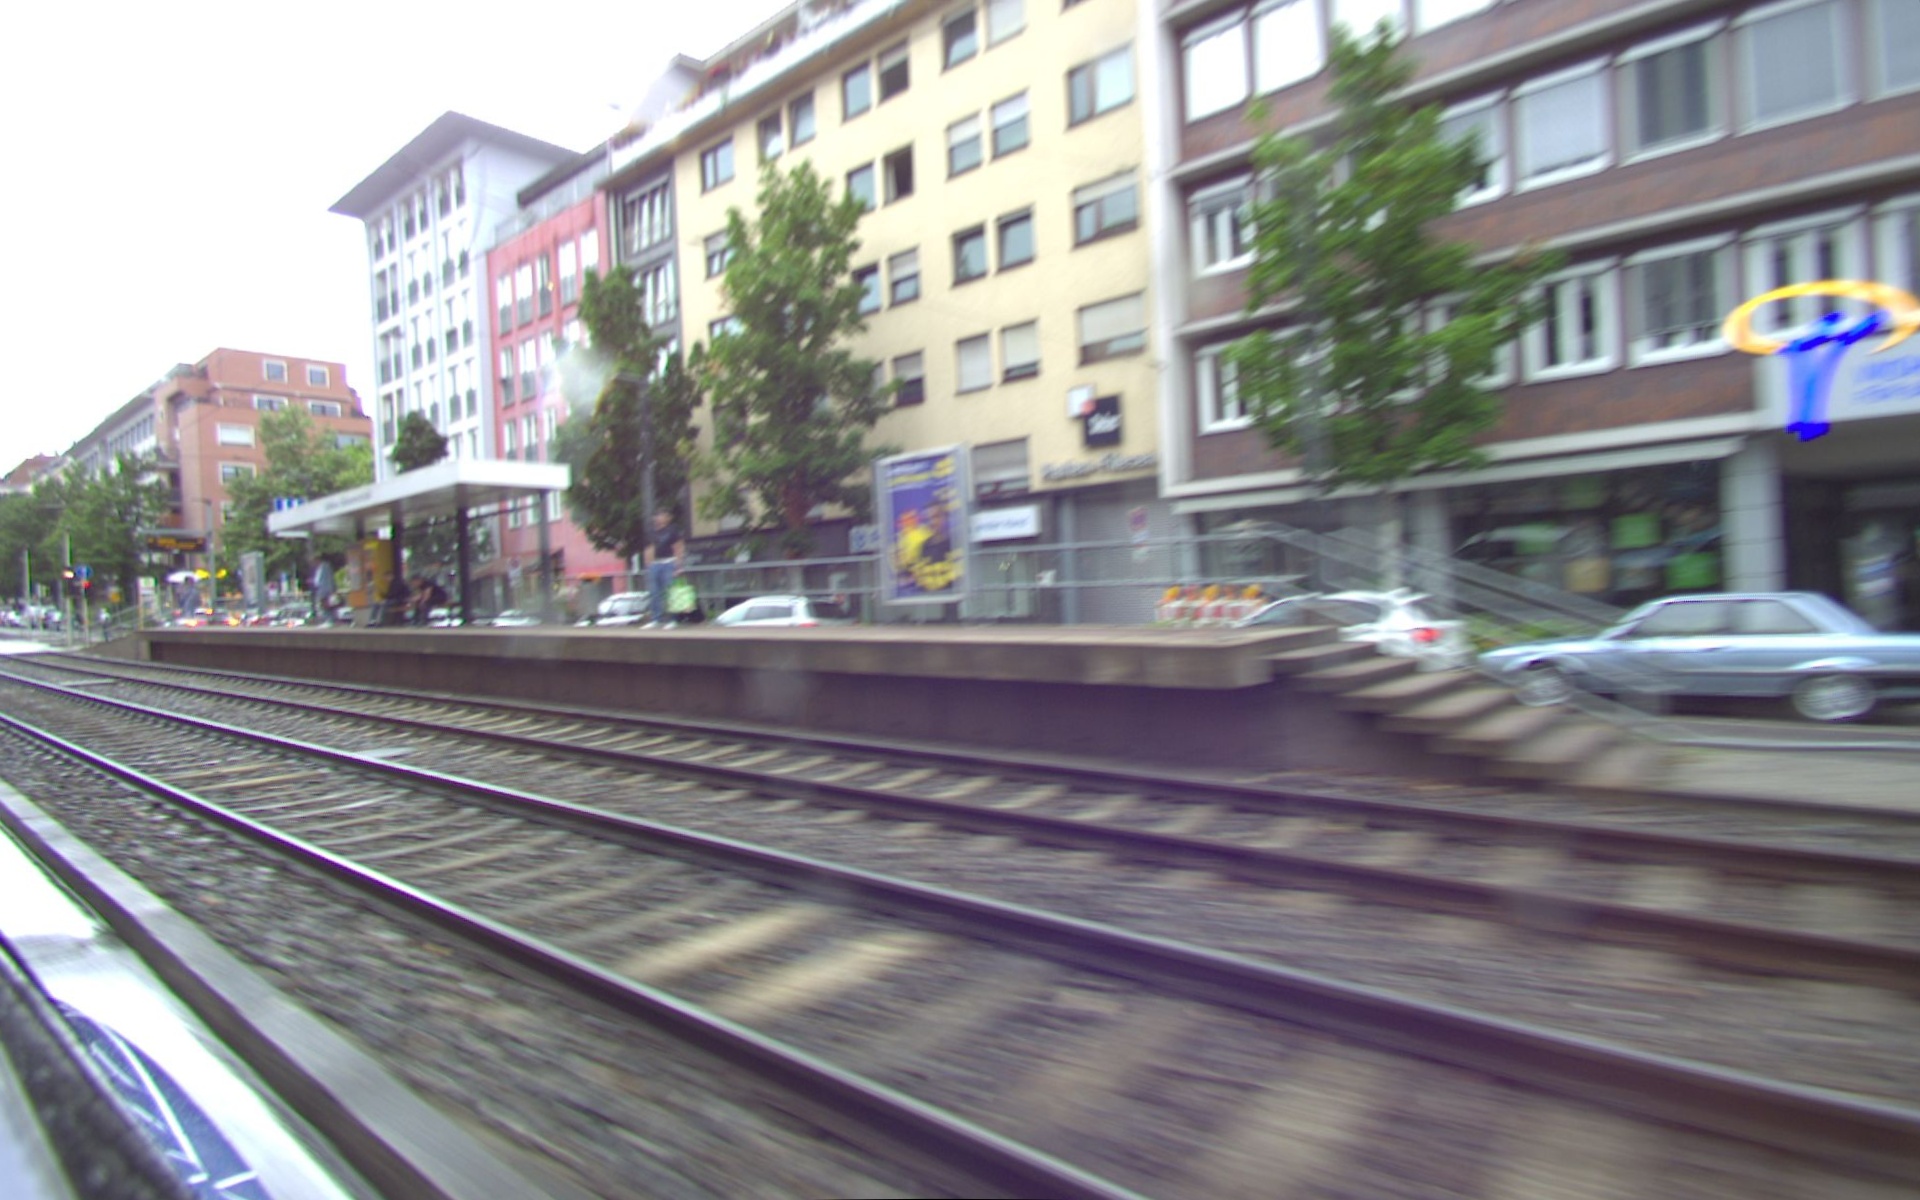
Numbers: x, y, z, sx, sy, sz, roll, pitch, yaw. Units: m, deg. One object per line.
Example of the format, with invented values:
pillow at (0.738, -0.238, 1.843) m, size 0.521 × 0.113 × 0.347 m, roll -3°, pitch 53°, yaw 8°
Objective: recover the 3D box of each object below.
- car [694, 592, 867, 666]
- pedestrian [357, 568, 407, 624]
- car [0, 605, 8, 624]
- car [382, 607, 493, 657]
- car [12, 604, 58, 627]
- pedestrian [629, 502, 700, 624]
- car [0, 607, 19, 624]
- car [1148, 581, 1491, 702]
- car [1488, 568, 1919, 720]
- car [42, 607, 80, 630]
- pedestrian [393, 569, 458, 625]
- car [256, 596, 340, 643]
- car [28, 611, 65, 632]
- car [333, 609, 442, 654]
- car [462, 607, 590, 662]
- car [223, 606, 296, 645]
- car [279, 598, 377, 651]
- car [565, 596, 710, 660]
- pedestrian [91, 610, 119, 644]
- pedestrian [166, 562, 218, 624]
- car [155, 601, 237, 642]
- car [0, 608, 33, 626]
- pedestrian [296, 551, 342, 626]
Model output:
car at (-3.906, 0.598, 21.753) m, size 3.730 × 1.447 × 1.553 m, roll -1°, pitch 0°, yaw 38°
pedestrian at (-13.175, -0.087, 23.072) m, size 0.883 × 1.258 × 0.686 m, roll -1°, pitch 0°, yaw 38°
car at (-94.874, 1.386, 99.273) m, size 4.428 × 1.831 × 1.657 m, roll 0°, pitch 1°, yaw 40°
car at (-16.500, 0.974, 31.885) m, size 3.973 × 1.447 × 1.553 m, roll -1°, pitch 0°, yaw 38°
car at (-77.425, 1.270, 84.717) m, size 5.248 × 1.858 × 1.890 m, roll 0°, pitch 1°, yaw 37°
pedestrian at (-4.543, -0.556, 15.563) m, size 0.849 × 1.815 × 0.649 m, roll -1°, pitch 0°, yaw 38°
car at (-90.435, 1.459, 95.705) m, size 3.800 × 1.550 × 1.622 m, roll 0°, pitch 1°, yaw 40°
car at (4.901, 0.512, 14.104) m, size 4.232 × 1.447 × 1.553 m, roll -1°, pitch 0°, yaw 38°
car at (8.340, 0.428, 11.254) m, size 4.171 × 1.447 × 1.553 m, roll -1°, pitch 0°, yaw 38°
car at (-68.002, 1.381, 76.513) m, size 4.369 × 1.636 × 1.622 m, roll 0°, pitch 1°, yaw 41°
pedestrian at (-11.289, -0.063, 21.377) m, size 0.846 × 1.132 × 0.886 m, roll -1°, pitch 0°, yaw 30°
car at (-27.781, 0.799, 42.425) m, size 4.315 × 1.872 × 1.691 m, roll -1°, pitch 0°, yaw 38°
car at (-72.823, 1.705, 80.657) m, size 4.369 × 1.548 × 1.622 m, roll 0°, pitch 1°, yaw 41°
car at (-20.262, 1.072, 35.774) m, size 4.313 × 1.447 × 1.823 m, roll -1°, pitch 0°, yaw 38°
car at (-12.579, 0.951, 29.242) m, size 3.973 × 1.447 × 1.657 m, roll -1°, pitch 0°, yaw 38°
car at (-31.791, 1.143, 45.898) m, size 4.551 × 1.624 × 1.708 m, roll -1°, pitch 0°, yaw 42°
car at (-24.196, 0.917, 38.693) m, size 4.375 × 1.872 × 1.785 m, roll -1°, pitch 0°, yaw 38°
car at (-8.017, 0.658, 25.033) m, size 3.730 × 1.447 × 1.553 m, roll -1°, pitch 0°, yaw 38°
pedestrian at (-44.878, 1.393, 53.144) m, size 0.983 × 1.709 × 0.813 m, roll -1°, pitch 2°, yaw 32°
pedestrian at (-25.816, -0.244, 34.025) m, size 1.382 × 2.029 × 1.105 m, roll 0°, pitch 0°, yaw 40°
car at (-32.407, 0.888, 42.884) m, size 5.018 × 1.590 × 1.788 m, roll -1°, pitch 0°, yaw 41°
car at (-84.387, 1.509, 90.339) m, size 4.524 × 1.473 × 1.676 m, roll 0°, pitch 1°, yaw 38°
pedestrian at (-15.185, -0.264, 23.970) m, size 0.849 × 1.724 × 0.649 m, roll -1°, pitch 0°, yaw 38°
